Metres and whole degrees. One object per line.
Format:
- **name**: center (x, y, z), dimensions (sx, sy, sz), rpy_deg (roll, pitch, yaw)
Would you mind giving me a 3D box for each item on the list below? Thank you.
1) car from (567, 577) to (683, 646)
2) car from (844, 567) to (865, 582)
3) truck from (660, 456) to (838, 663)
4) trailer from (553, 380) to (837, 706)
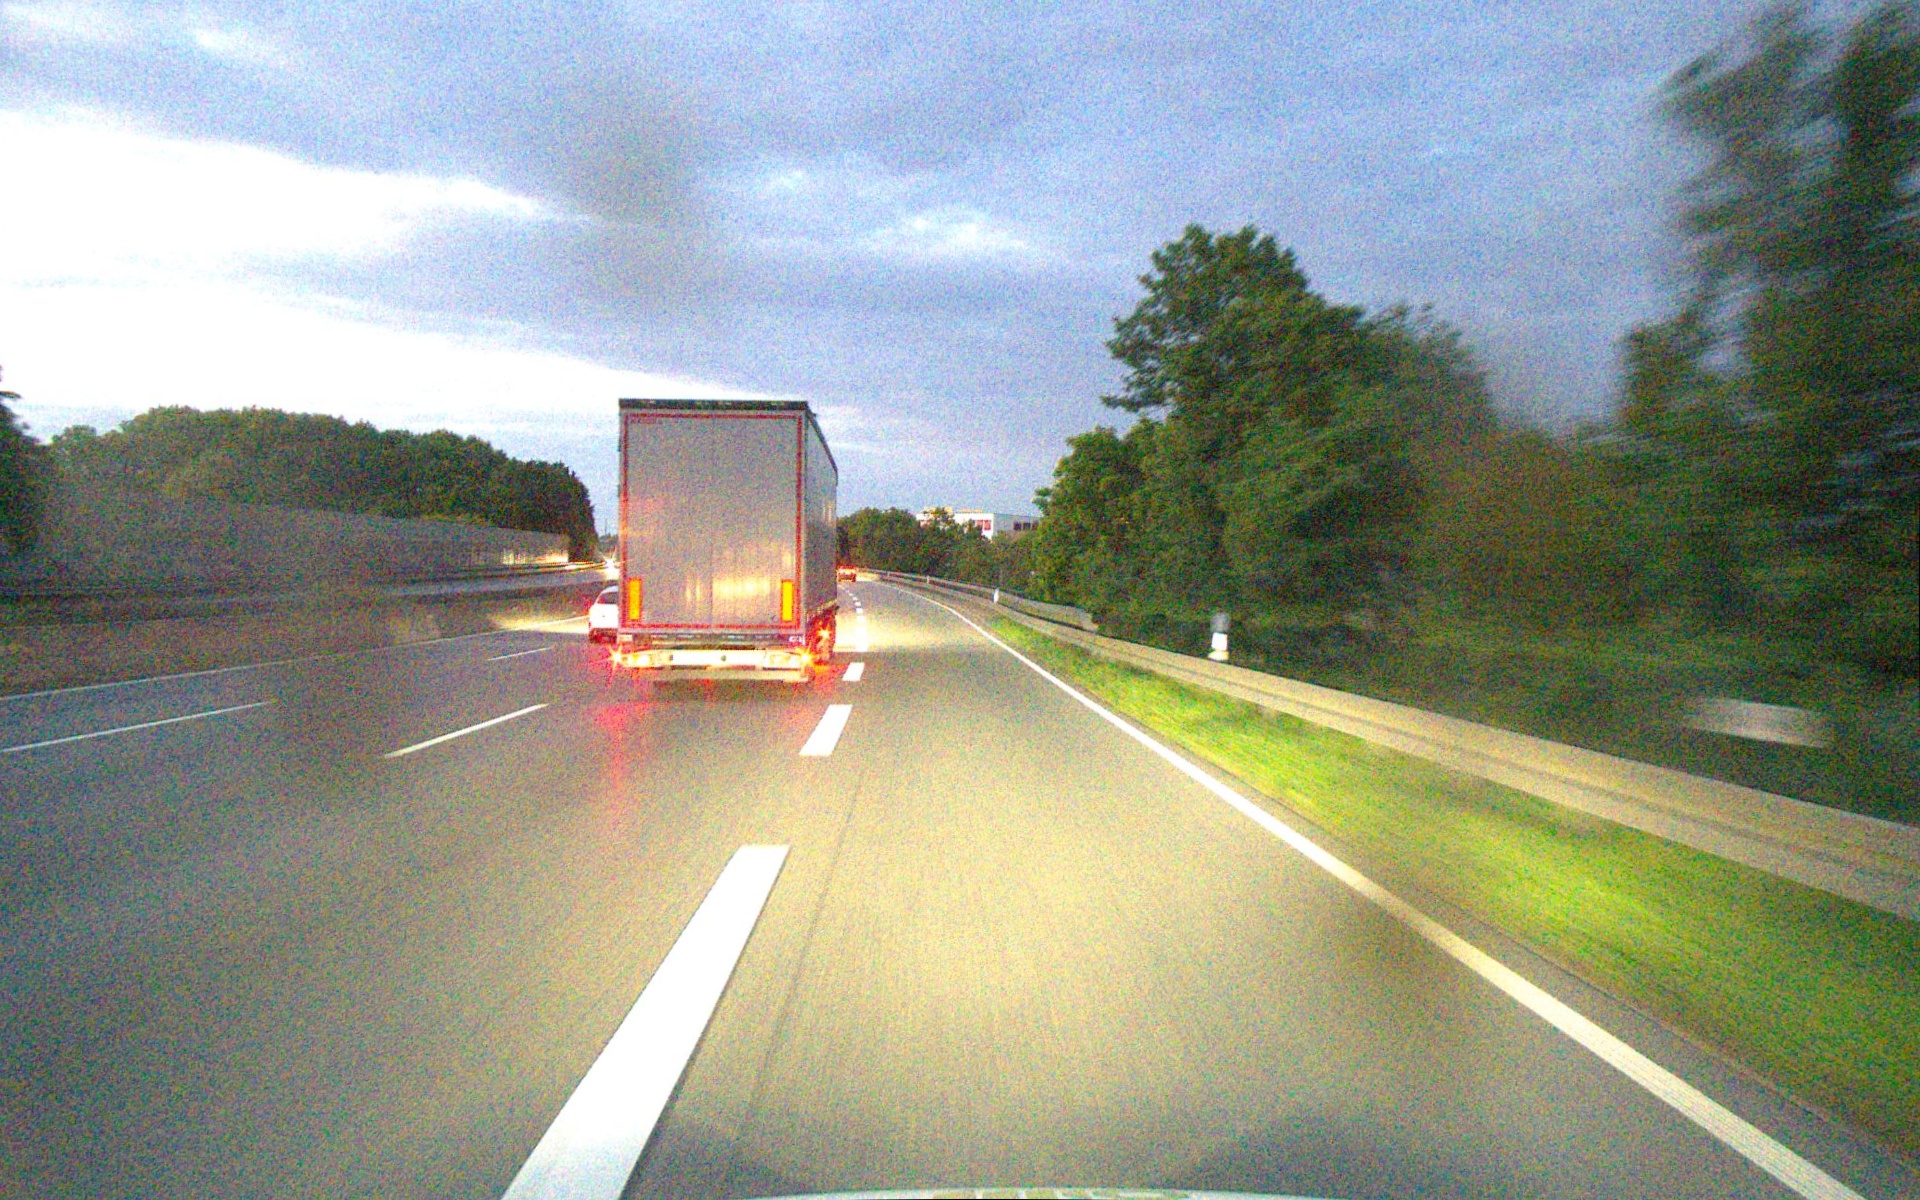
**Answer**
- **car**: center (-8.611, 0.338, 42.967), dimensions (1.867, 1.643, 4.804), rpy_deg (1, -2, 2)
- **car**: center (-11.263, -2.705, 176.375), dimensions (1.955, 1.378, 3.994), rpy_deg (2, -2, -7)
- **truck**: center (-4.472, -0.828, 36.391), dimensions (3.480, 4.162, 6.146), rpy_deg (0, 0, -4)
- **trailer**: center (-3.983, -0.768, 28.926), dimensions (3.480, 4.188, 15.051), rpy_deg (0, 0, -4)
